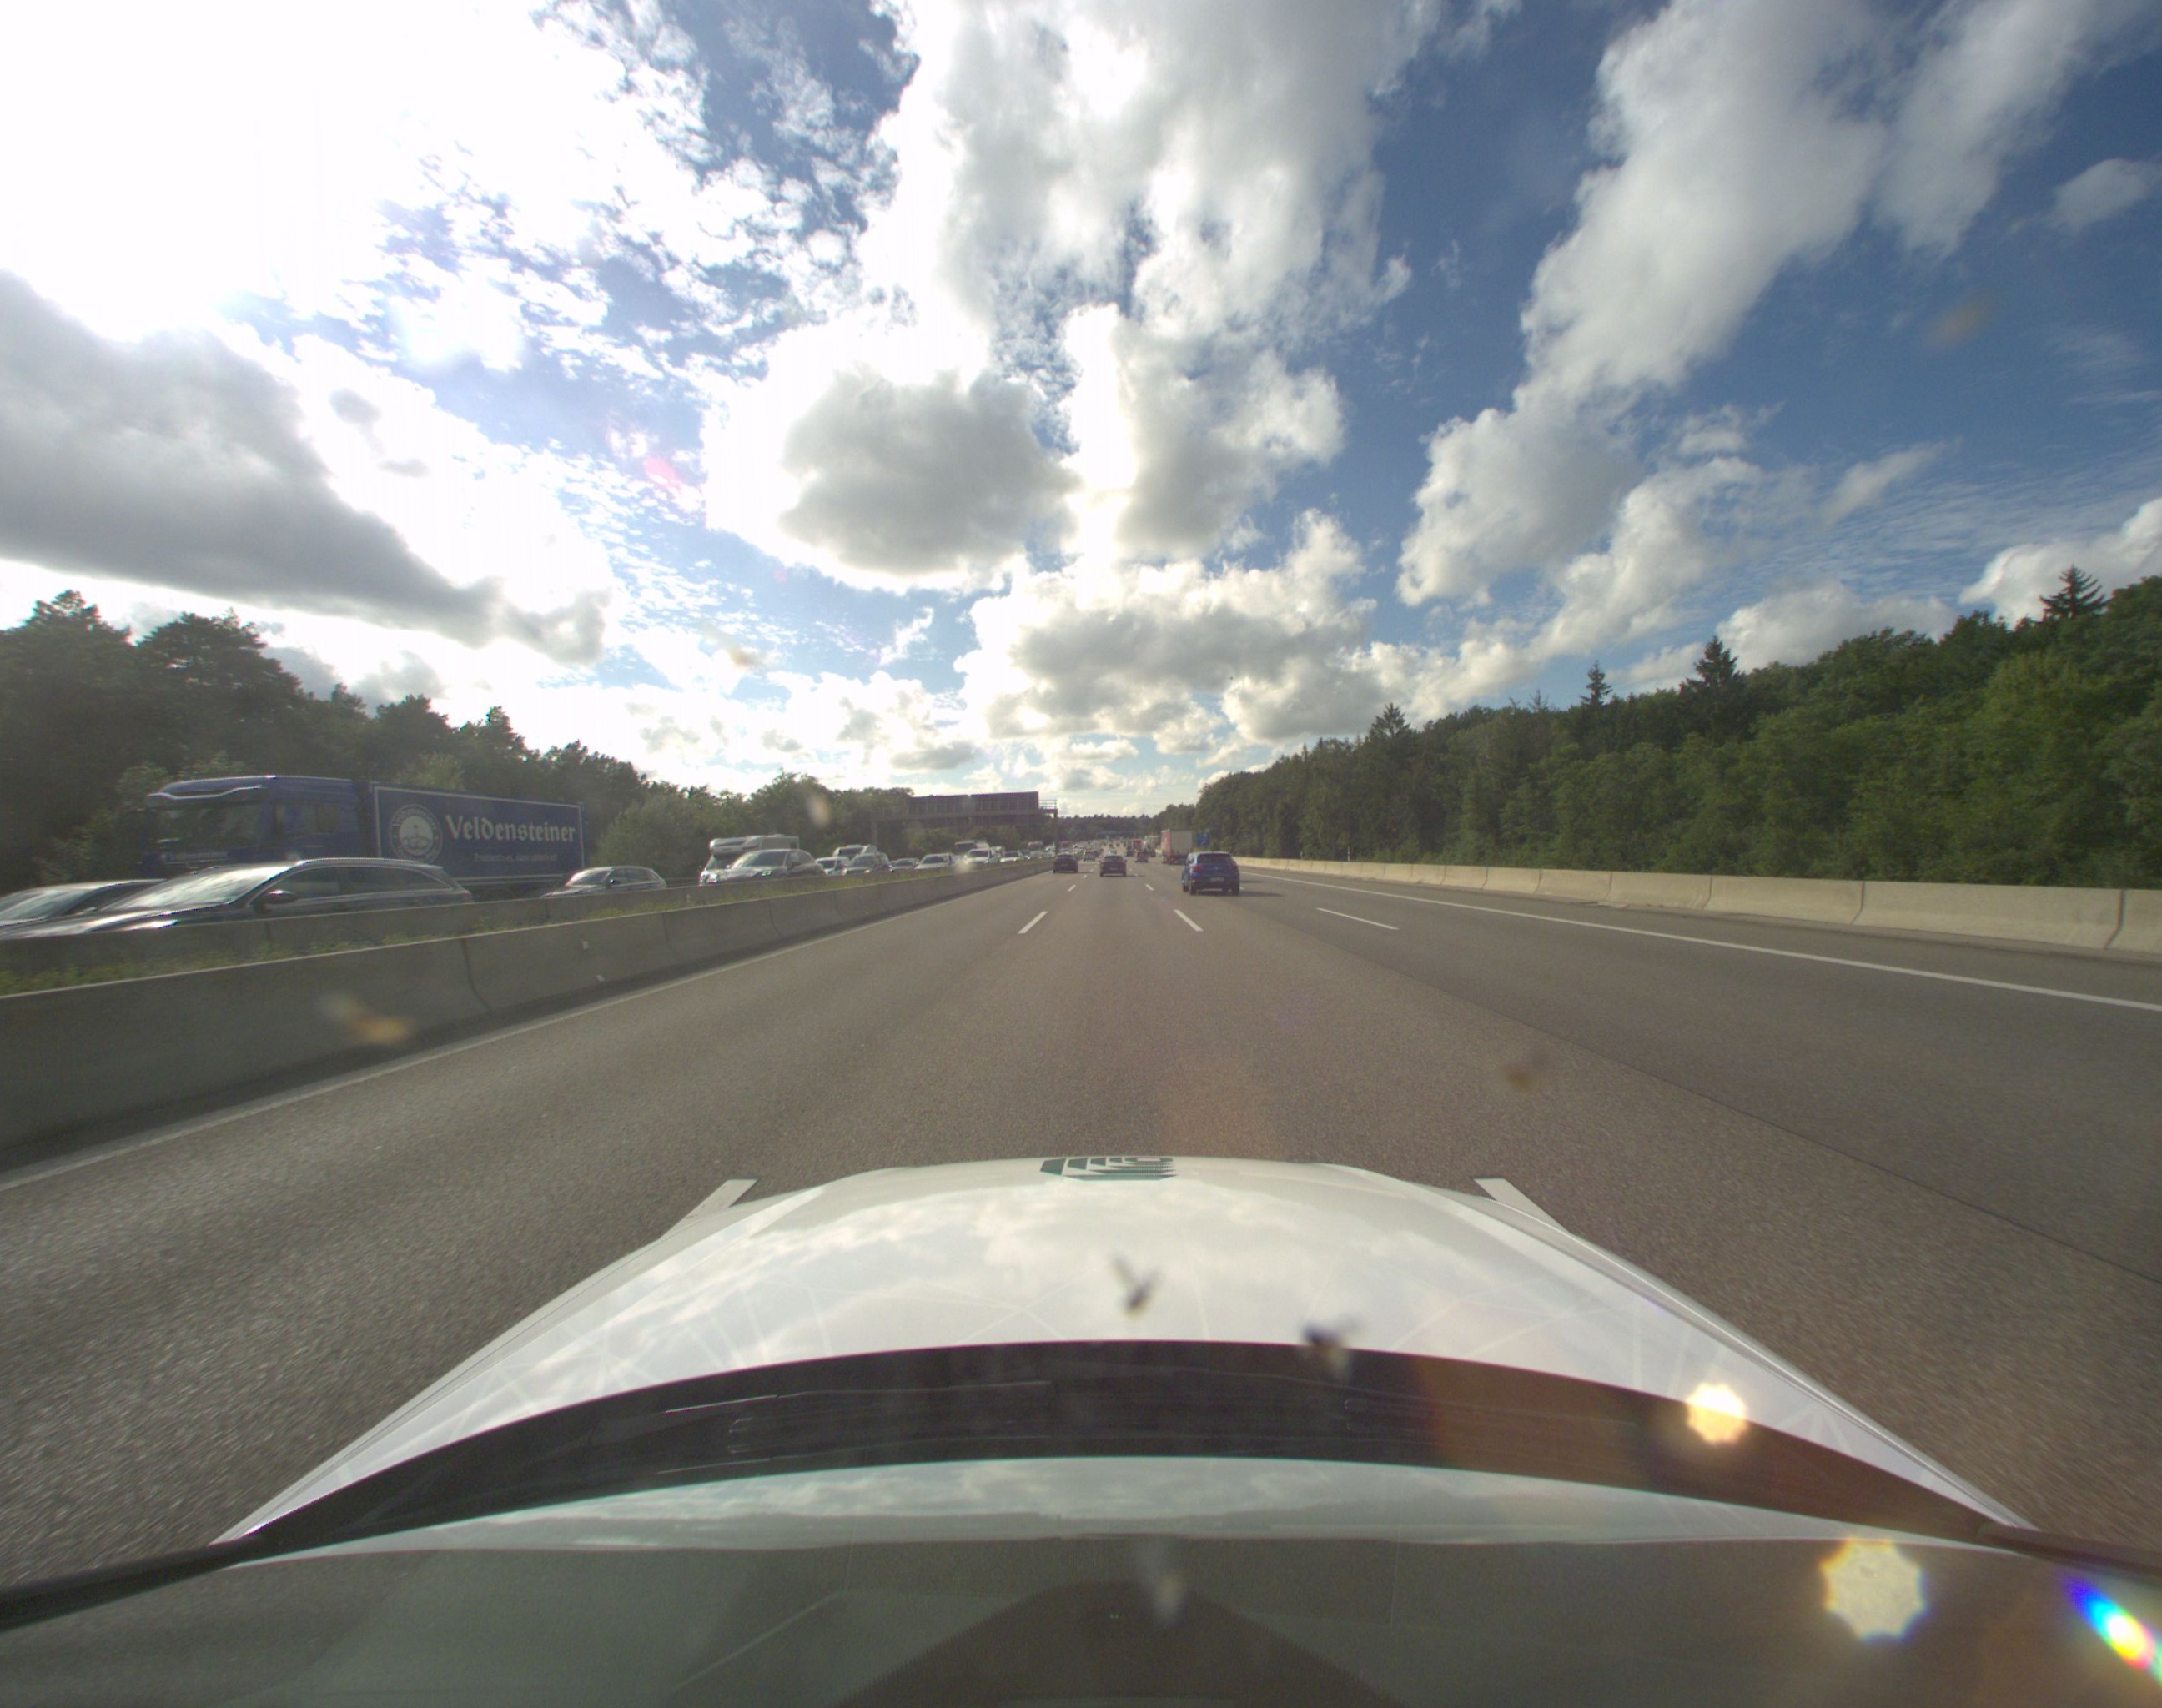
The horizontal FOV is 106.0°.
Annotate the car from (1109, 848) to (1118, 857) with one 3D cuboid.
[{"bbox_3d":[7.611,-0.244,191.823,1.986,2.014,4.001,-2,-1,2],"label":"car"}]

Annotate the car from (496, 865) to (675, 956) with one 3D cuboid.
[{"bbox_3d":[-12.907,1.376,21.635,1.825,2.060,4.638,-1,0,1],"label":"car"}]

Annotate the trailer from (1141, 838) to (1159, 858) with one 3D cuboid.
[{"bbox_3d":[14.549,-1.144,172.722,3.025,4.015,12.249,-1,0,1],"label":"trailer"}]

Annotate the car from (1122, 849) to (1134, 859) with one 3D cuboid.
[{"bbox_3d":[10.123,-0.022,175.794,1.990,2.013,3.993,0,0,-5],"label":"car"}]

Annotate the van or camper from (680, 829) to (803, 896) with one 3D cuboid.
[{"bbox_3d":[-15.952,0.448,38.984,2.460,2.890,7.485,-1,-1,2],"label":"van or camper"}]

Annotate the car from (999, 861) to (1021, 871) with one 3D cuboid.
[{"bbox_3d":[-6.812,1.150,78.285,1.637,0.940,4.489,0,-1,1],"label":"car"}]

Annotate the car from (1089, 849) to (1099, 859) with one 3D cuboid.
[{"bbox_3d":[2.783,-0.049,169.536,1.986,2.014,4.001,-1,-1,2],"label":"car"}]

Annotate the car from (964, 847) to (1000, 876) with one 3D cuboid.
[{"bbox_3d":[-7.415,0.544,61.611,1.825,2.062,5.502,-2,0,1],"label":"car"}]

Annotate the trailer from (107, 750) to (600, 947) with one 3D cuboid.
[{"bbox_3d":[-16.698,-0.106,20.398,2.877,3.658,10.224,-1,0,2],"label":"trailer"}]

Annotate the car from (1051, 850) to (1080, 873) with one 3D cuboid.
[{"bbox_3d":[-1.191,0.564,64.888,1.986,1.776,4.002,-1,0,2],"label":"car"}]

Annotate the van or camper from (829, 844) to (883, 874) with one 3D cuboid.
[{"bbox_3d":[-15.356,0.327,55.898,2.274,2.011,4.691,0,0,2],"label":"van or camper"}]

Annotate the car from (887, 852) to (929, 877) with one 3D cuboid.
[{"bbox_3d":[-11.477,0.666,54.304,1.825,1.537,4.244,0,0,1],"label":"car"}]

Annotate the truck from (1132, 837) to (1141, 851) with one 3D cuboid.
[{"bbox_3d":[15.710,-2.809,229.946,2.348,3.572,11.275,-1,-1,3],"label":"truck"}]

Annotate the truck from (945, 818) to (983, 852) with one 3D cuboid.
[{"bbox_3d":[-14.257,-2.237,99.845,3.404,3.900,6.803,-2,0,1],"label":"truck"}]

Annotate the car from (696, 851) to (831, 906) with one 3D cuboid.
[{"bbox_3d":[-8.937,0.641,23.464,1.825,1.387,4.905,-1,0,1],"label":"car"}]

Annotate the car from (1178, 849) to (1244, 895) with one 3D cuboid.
[{"bbox_3d":[4.772,0.657,30.474,1.916,1.541,4.649,-1,-1,3],"label":"car"}]

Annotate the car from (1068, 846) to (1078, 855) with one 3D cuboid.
[{"bbox_3d":[-1.877,-0.903,196.268,1.986,2.014,4.412,-2,-1,2],"label":"car"}]

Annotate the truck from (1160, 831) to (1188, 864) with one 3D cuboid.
[{"bbox_3d":[11.670,-0.749,102.717,3.069,4.063,6.072,0,-1,2],"label":"truck"}]

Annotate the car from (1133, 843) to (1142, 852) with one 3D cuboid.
[{"bbox_3d":[14.277,-1.646,205.377,1.986,2.014,4.001,-1,-1,2],"label":"car"}]

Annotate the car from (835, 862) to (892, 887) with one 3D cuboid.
[{"bbox_3d":[-11.964,1.080,45.060,1.825,1.230,4.568,-1,0,1],"label":"car"}]

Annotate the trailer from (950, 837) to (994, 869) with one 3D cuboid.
[{"bbox_3d":[-14.039,-0.139,106.270,3.399,3.828,13.266,-1,0,2],"label":"trailer"}]

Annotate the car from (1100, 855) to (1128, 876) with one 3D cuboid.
[{"bbox_3d":[2.148,0.735,54.057,1.728,1.365,4.000,0,0,1],"label":"car"}]

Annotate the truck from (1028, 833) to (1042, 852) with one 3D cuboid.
[{"bbox_3d":[-10.505,-2.687,186.779,2.842,4.234,5.716,0,0,2],"label":"truck"}]

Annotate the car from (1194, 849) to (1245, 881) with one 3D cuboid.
[{"bbox_3d":[7.161,0.565,42.677,1.985,1.574,5.281,-1,-1,2],"label":"car"}]

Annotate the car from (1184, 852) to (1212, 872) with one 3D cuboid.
[{"bbox_3d":[9.539,0.604,66.627,1.708,1.511,4.304,-2,0,2],"label":"car"}]

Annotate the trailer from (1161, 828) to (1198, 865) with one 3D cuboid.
[{"bbox_3d":[11.437,-0.722,95.945,3.027,4.035,13.895,-1,-1,2],"label":"trailer"}]

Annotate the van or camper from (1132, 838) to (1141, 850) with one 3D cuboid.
[{"bbox_3d":[16.135,-2.857,237.223,2.342,3.144,5.715,-1,-1,3],"label":"van or camper"}]

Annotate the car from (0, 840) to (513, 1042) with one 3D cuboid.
[{"bbox_3d":[-9.235,0.777,9.530,1.810,1.764,4.632,-1,0,1],"label":"car"}]

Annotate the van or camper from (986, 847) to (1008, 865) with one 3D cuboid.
[{"bbox_3d":[-12.699,0.299,123.782,2.315,2.643,7.401,-1,-1,2],"label":"van or camper"}]

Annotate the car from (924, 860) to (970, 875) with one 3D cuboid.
[{"bbox_3d":[-7.289,0.717,44.633,1.641,0.724,4.449,-1,0,1],"label":"car"}]

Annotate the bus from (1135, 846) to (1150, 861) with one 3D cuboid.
[{"bbox_3d":[8.368,-0.022,111.107,1.986,2.014,4.002,-1,-1,2],"label":"bus"}]

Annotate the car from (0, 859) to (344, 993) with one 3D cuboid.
[{"bbox_3d":[-12.966,0.835,10.856,1.717,1.482,4.905,-1,0,1],"label":"car"}]

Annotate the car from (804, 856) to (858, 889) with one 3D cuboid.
[{"bbox_3d":[-15.260,1.105,49.947,1.825,1.915,4.483,-1,0,1],"label":"car"}]

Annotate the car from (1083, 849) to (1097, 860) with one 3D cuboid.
[{"bbox_3d":[1.446,0.089,131.792,2.146,1.776,4.002,0,0,2],"label":"car"}]
